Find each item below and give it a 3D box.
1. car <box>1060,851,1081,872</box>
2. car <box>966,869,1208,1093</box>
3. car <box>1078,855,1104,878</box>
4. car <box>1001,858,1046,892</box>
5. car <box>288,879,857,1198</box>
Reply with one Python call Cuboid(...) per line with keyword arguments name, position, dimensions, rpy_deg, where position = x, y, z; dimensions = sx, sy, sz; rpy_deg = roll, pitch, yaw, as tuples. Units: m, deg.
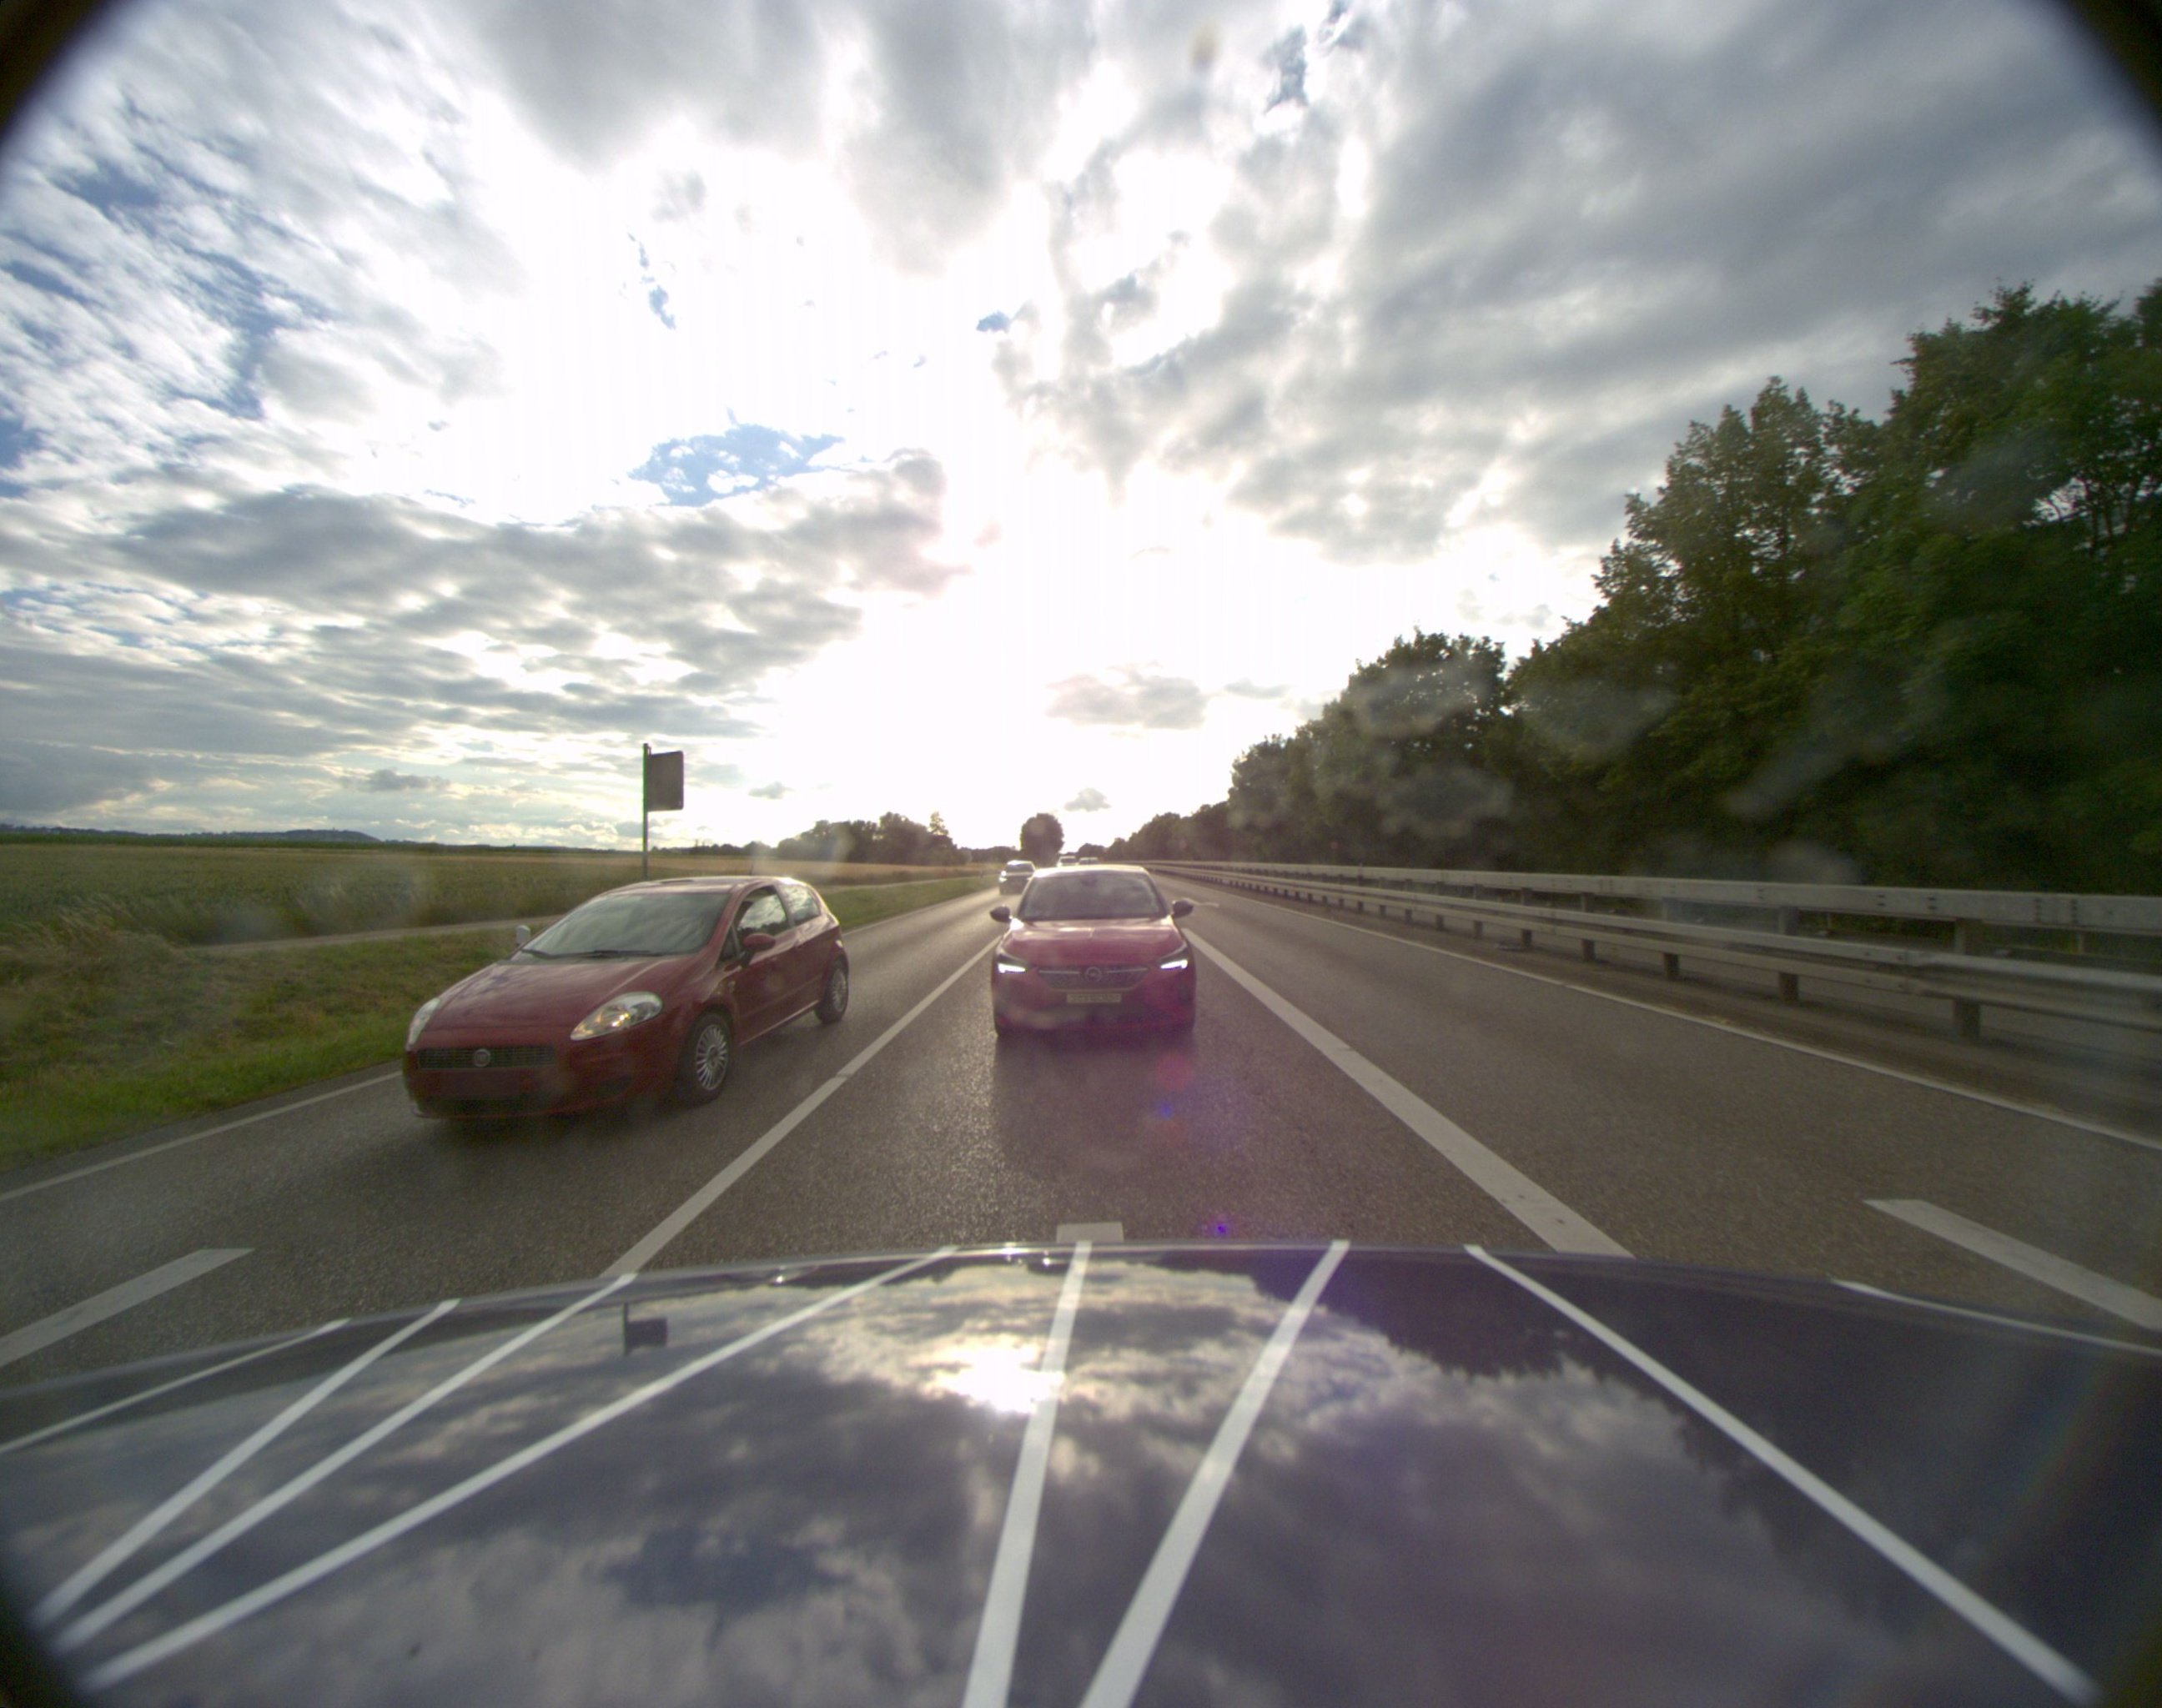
Cuboid(name="car", position=(-0.930, 0.681, 68.380), dimensions=(1.671, 1.730, 4.032), rpy_deg=(-2, 1, 1))
Cuboid(name="car", position=(0.074, 0.973, 7.587), dimensions=(1.712, 1.448, 4.061), rpy_deg=(-2, 1, 1))
Cuboid(name="car", position=(0.732, 0.884, 54.527), dimensions=(1.712, 1.448, 4.061), rpy_deg=(-2, 1, 1))
Cuboid(name="car", position=(-2.749, 0.987, 37.330), dimensions=(1.799, 1.448, 4.032), rpy_deg=(-2, 1, 1))
Cuboid(name="car", position=(-3.250, 1.039, 5.949), dimensions=(1.712, 1.448, 3.908), rpy_deg=(-2, 1, 1))
